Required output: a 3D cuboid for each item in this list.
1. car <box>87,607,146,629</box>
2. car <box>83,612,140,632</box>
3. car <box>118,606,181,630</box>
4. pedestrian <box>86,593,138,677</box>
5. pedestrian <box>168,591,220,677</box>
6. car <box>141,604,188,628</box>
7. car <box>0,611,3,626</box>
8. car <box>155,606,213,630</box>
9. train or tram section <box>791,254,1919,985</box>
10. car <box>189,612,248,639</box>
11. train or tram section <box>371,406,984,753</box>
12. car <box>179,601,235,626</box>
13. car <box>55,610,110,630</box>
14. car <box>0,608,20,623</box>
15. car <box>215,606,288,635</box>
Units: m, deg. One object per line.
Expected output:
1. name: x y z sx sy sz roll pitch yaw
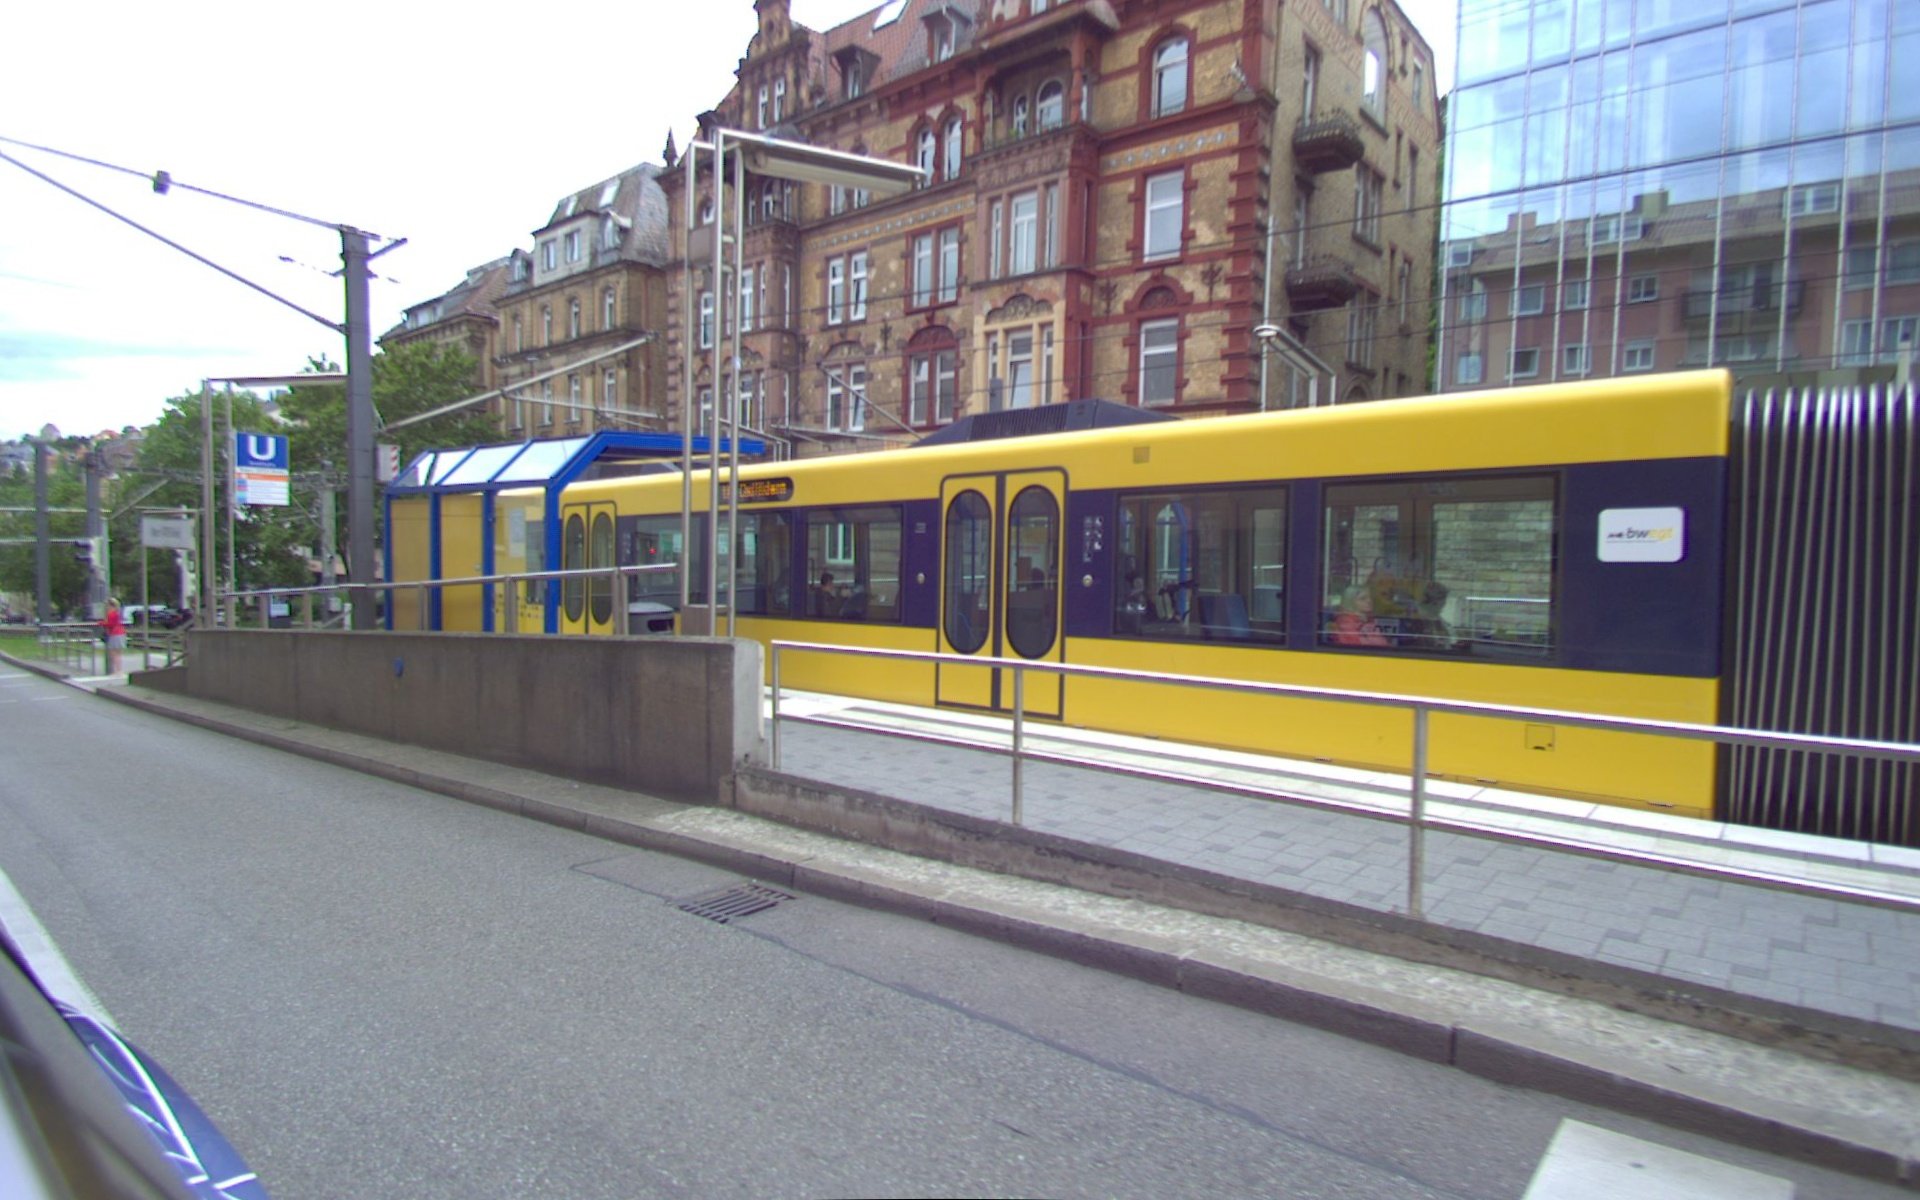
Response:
1. car: -78.509 1.658 94.212 1.775 1.827 3.824 -1 0 26
2. car: -82.396 2.105 98.295 1.775 1.827 3.824 -1 0 26
3. car: -68.020 1.516 84.987 1.770 1.827 3.835 -1 0 18
4. pedestrian: -17.764 0.720 21.196 0.685 1.693 0.671 -1 1 39
5. pedestrian: -15.640 0.684 20.669 0.658 1.708 0.616 -1 1 32
6. car: -62.983 1.256 80.178 1.754 1.700 3.871 -2 1 -21
7. car: -139.535 2.706 145.857 4.000 2.029 1.972 -1 0 43
8. car: -58.441 1.321 76.274 1.756 1.700 3.865 -2 0 -8
9. train or tram section: 3.817 -0.026 7.478 12.215 3.497 2.919 3 3 41
10. car: -51.413 1.726 70.253 1.756 1.700 3.865 -2 0 -9
11. train or tram section: -5.285 -0.412 15.642 12.396 3.569 2.918 2 3 42
12. car: -55.995 0.992 75.346 1.756 1.700 3.865 -2 0 -9
13. car: -89.402 2.013 103.132 1.775 1.827 3.824 -1 0 26
14. car: -129.199 2.126 137.108 3.991 2.029 1.976 -1 0 36
15. car: -46.578 1.309 66.631 1.764 1.700 3.847 -1 1 9
